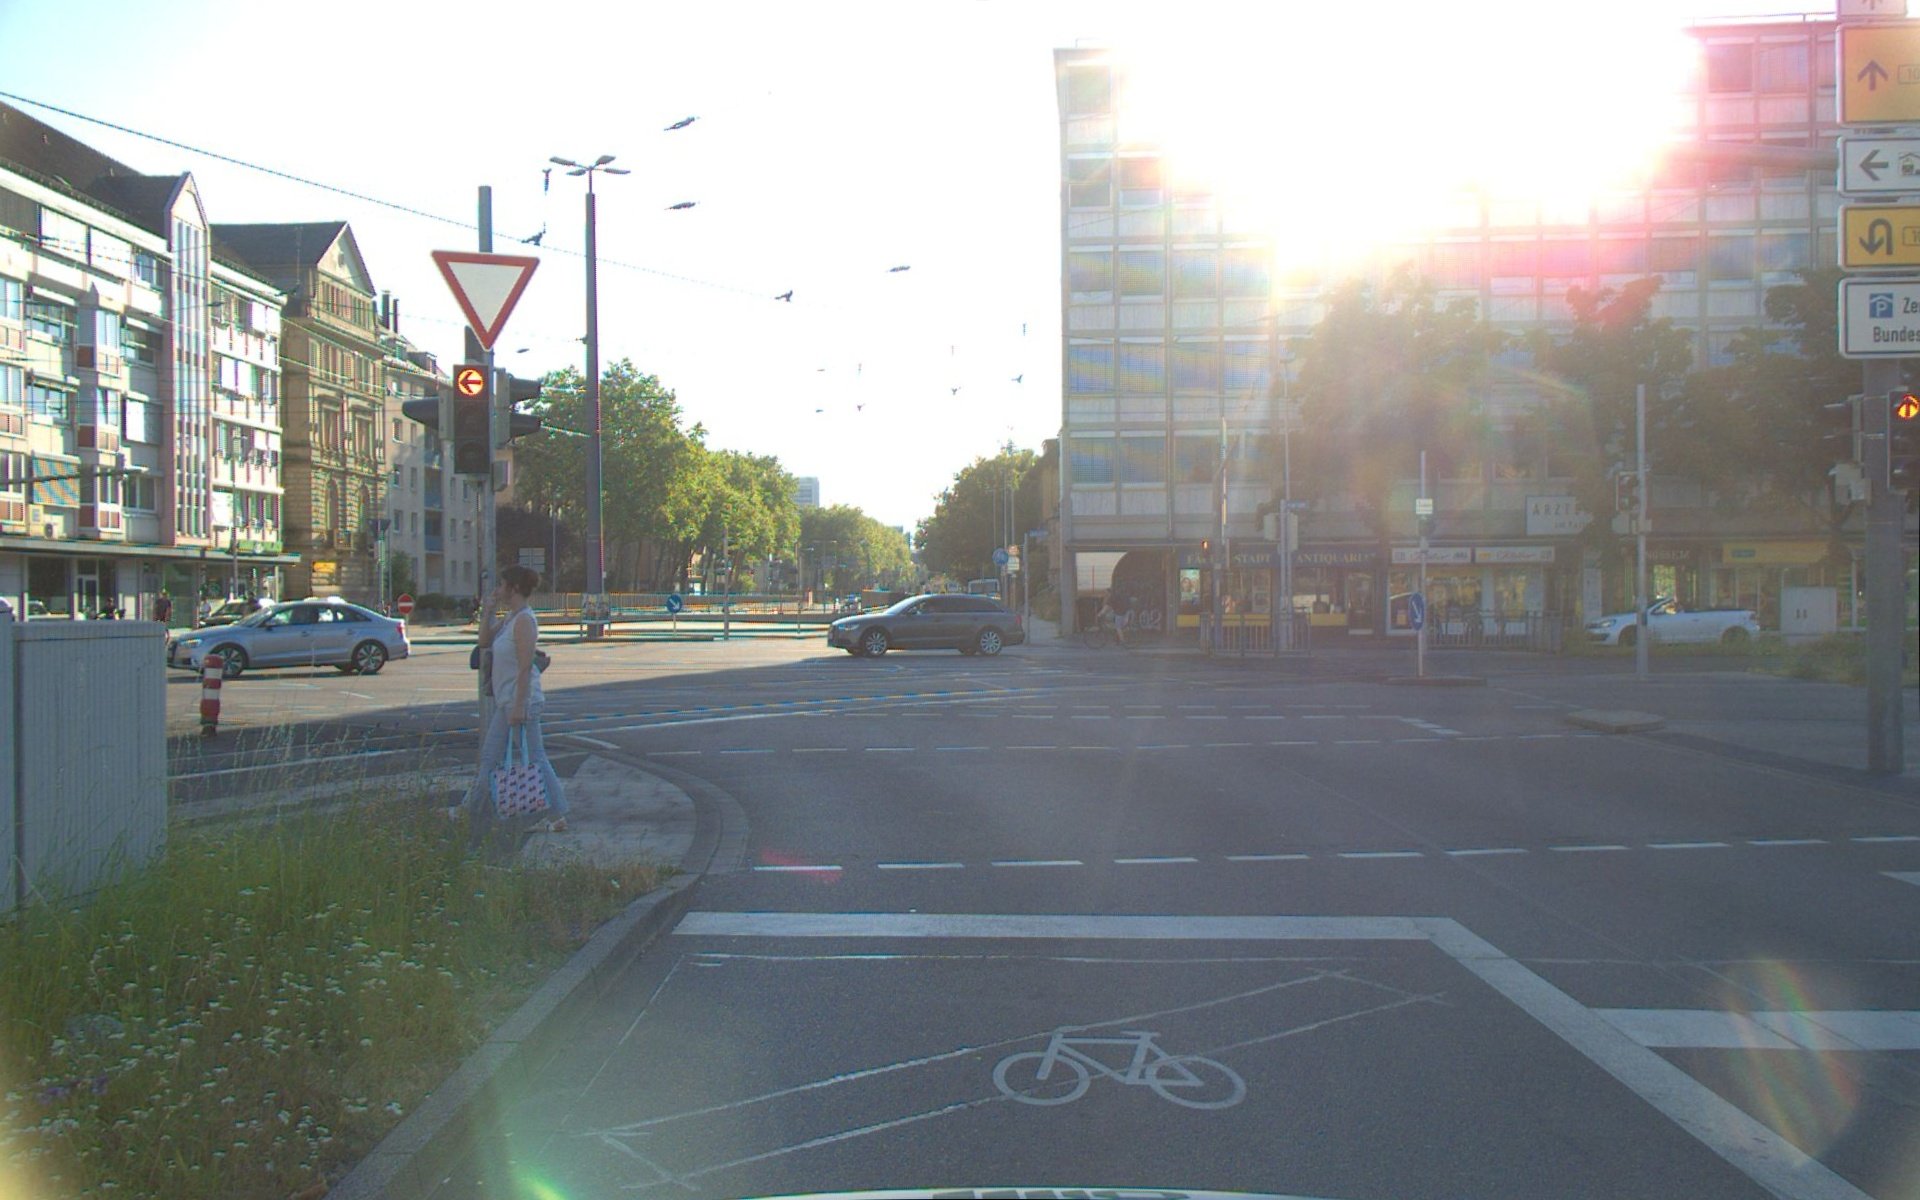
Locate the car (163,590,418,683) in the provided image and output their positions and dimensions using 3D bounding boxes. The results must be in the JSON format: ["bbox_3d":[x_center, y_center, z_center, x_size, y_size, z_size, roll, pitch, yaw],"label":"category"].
[{"bbox_3d":[-13.036,0.664,32.274,4.295,1.624,1.976,-1,0,-35],"label":"car"}]

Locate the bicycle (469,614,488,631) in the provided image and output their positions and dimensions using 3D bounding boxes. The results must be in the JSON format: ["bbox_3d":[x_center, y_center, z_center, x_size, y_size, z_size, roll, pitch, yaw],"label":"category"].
[{"bbox_3d":[-29.164,1.355,100.158,0.586,0.931,1.836,-1,0,1],"label":"bicycle"}]

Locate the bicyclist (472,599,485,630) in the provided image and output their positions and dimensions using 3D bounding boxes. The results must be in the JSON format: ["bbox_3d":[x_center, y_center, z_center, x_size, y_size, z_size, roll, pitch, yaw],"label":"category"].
[{"bbox_3d":[-29.168,0.874,100.243,0.580,1.894,0.642,-1,0,1],"label":"bicyclist"}]

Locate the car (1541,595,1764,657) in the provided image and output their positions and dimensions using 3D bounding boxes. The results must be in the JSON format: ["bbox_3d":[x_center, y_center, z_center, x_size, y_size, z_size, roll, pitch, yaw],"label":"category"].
[{"bbox_3d":[17.407,0.640,41.788,4.816,1.504,2.001,0,0,5],"label":"car"}]

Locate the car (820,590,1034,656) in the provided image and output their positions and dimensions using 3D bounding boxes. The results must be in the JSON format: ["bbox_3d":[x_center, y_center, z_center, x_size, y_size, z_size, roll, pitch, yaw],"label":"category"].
[{"bbox_3d":[-0.805,0.525,40.103,4.843,1.504,1.990,-1,0,-18],"label":"car"}]

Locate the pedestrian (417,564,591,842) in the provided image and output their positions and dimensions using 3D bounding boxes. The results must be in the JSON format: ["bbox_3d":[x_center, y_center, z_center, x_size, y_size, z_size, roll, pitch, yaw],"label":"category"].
[{"bbox_3d":[-2.769,0.607,10.105,0.860,1.625,0.655,-1,0,-1],"label":"pedestrian"}]

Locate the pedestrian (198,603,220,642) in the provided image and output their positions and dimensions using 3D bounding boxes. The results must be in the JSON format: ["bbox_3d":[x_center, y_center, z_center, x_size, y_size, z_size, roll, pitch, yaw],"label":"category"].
[{"bbox_3d":[-31.928,0.954,70.341,0.613,1.633,0.704,0,0,1],"label":"pedestrian"}]

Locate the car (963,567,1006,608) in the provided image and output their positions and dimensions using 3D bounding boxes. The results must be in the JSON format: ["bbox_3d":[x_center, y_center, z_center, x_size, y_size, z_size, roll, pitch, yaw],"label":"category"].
[{"bbox_3d":[1.526,-0.769,105.569,2.435,2.434,5.933,-2,0,-1],"label":"car"}]

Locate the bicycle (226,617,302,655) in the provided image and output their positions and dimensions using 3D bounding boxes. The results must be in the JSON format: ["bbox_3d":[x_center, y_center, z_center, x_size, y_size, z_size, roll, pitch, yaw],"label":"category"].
[{"bbox_3d":[-22.437,1.166,53.320,2.131,1.157,0.658,-1,0,-5],"label":"bicycle"}]

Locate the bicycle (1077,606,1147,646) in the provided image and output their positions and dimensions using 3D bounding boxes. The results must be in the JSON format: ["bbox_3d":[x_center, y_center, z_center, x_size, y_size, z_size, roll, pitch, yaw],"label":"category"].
[{"bbox_3d":[4.454,0.760,48.487,1.934,1.117,0.677,0,0,-5],"label":"bicycle"}]

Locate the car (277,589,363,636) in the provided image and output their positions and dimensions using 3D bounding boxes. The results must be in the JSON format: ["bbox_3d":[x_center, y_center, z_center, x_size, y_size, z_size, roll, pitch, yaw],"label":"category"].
[{"bbox_3d":[-26.955,0.496,69.817,1.952,1.892,4.001,-1,0,2],"label":"car"}]

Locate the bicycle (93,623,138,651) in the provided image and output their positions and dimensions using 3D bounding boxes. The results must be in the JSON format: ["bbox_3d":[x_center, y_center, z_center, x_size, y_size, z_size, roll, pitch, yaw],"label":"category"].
[{"bbox_3d":[-29.613,1.291,58.003,0.586,0.931,1.836,-1,0,1],"label":"bicycle"}]

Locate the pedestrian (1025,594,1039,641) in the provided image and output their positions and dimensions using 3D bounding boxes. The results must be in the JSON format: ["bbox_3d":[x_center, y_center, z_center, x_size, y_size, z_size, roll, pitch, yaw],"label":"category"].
[{"bbox_3d":[2.359,0.562,54.449,0.359,1.534,0.542,-1,0,-7],"label":"pedestrian"}]

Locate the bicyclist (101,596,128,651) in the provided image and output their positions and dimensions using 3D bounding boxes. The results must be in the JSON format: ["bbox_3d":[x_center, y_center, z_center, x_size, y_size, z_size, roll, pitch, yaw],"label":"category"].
[{"bbox_3d":[-29.686,0.815,58.055,0.580,1.894,0.642,-1,0,1],"label":"bicyclist"}]

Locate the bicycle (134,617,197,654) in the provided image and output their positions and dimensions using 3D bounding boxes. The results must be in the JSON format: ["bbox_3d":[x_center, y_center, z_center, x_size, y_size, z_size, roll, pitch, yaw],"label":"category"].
[{"bbox_3d":[-27.439,1.212,57.136,1.935,1.222,0.605,-1,0,-24],"label":"bicycle"}]

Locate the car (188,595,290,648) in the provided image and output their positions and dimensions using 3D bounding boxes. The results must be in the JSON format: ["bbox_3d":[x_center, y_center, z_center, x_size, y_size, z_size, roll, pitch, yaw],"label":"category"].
[{"bbox_3d":[-27.008,0.780,62.082,1.952,1.892,4.001,-1,0,2],"label":"car"}]

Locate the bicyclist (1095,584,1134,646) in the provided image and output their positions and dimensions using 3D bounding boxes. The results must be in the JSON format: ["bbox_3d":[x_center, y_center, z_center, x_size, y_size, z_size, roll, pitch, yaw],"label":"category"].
[{"bbox_3d":[4.535,0.434,48.494,1.019,1.769,0.677,0,0,-5],"label":"bicyclist"}]

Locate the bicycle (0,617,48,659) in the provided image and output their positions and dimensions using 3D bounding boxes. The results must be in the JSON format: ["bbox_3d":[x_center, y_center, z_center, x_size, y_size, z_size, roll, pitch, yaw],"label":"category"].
[{"bbox_3d":[-26.922,1.075,46.555,2.053,1.157,0.658,-1,0,-5],"label":"bicycle"}]

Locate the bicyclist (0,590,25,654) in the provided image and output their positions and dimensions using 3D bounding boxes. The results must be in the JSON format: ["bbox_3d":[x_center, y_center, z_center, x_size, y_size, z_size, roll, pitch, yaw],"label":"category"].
[{"bbox_3d":[-26.943,0.611,46.555,0.881,1.783,0.654,-1,0,-4],"label":"bicyclist"}]

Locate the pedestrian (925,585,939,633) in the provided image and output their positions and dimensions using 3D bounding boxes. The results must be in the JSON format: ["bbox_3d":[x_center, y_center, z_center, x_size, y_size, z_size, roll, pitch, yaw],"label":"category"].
[{"bbox_3d":[-0.887,0.284,52.486,0.359,1.534,0.542,-1,0,-7],"label":"pedestrian"}]

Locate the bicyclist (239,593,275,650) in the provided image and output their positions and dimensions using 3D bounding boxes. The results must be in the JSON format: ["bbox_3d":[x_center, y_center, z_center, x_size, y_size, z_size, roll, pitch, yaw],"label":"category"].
[{"bbox_3d":[-22.650,0.690,53.295,0.881,1.783,0.650,-1,0,-5],"label":"bicyclist"}]

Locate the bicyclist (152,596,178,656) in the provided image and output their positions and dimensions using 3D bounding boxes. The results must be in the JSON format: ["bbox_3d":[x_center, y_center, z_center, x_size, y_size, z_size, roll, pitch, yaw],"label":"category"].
[{"bbox_3d":[-27.465,0.899,57.116,0.766,2.049,0.600,0,0,-24],"label":"bicyclist"}]
